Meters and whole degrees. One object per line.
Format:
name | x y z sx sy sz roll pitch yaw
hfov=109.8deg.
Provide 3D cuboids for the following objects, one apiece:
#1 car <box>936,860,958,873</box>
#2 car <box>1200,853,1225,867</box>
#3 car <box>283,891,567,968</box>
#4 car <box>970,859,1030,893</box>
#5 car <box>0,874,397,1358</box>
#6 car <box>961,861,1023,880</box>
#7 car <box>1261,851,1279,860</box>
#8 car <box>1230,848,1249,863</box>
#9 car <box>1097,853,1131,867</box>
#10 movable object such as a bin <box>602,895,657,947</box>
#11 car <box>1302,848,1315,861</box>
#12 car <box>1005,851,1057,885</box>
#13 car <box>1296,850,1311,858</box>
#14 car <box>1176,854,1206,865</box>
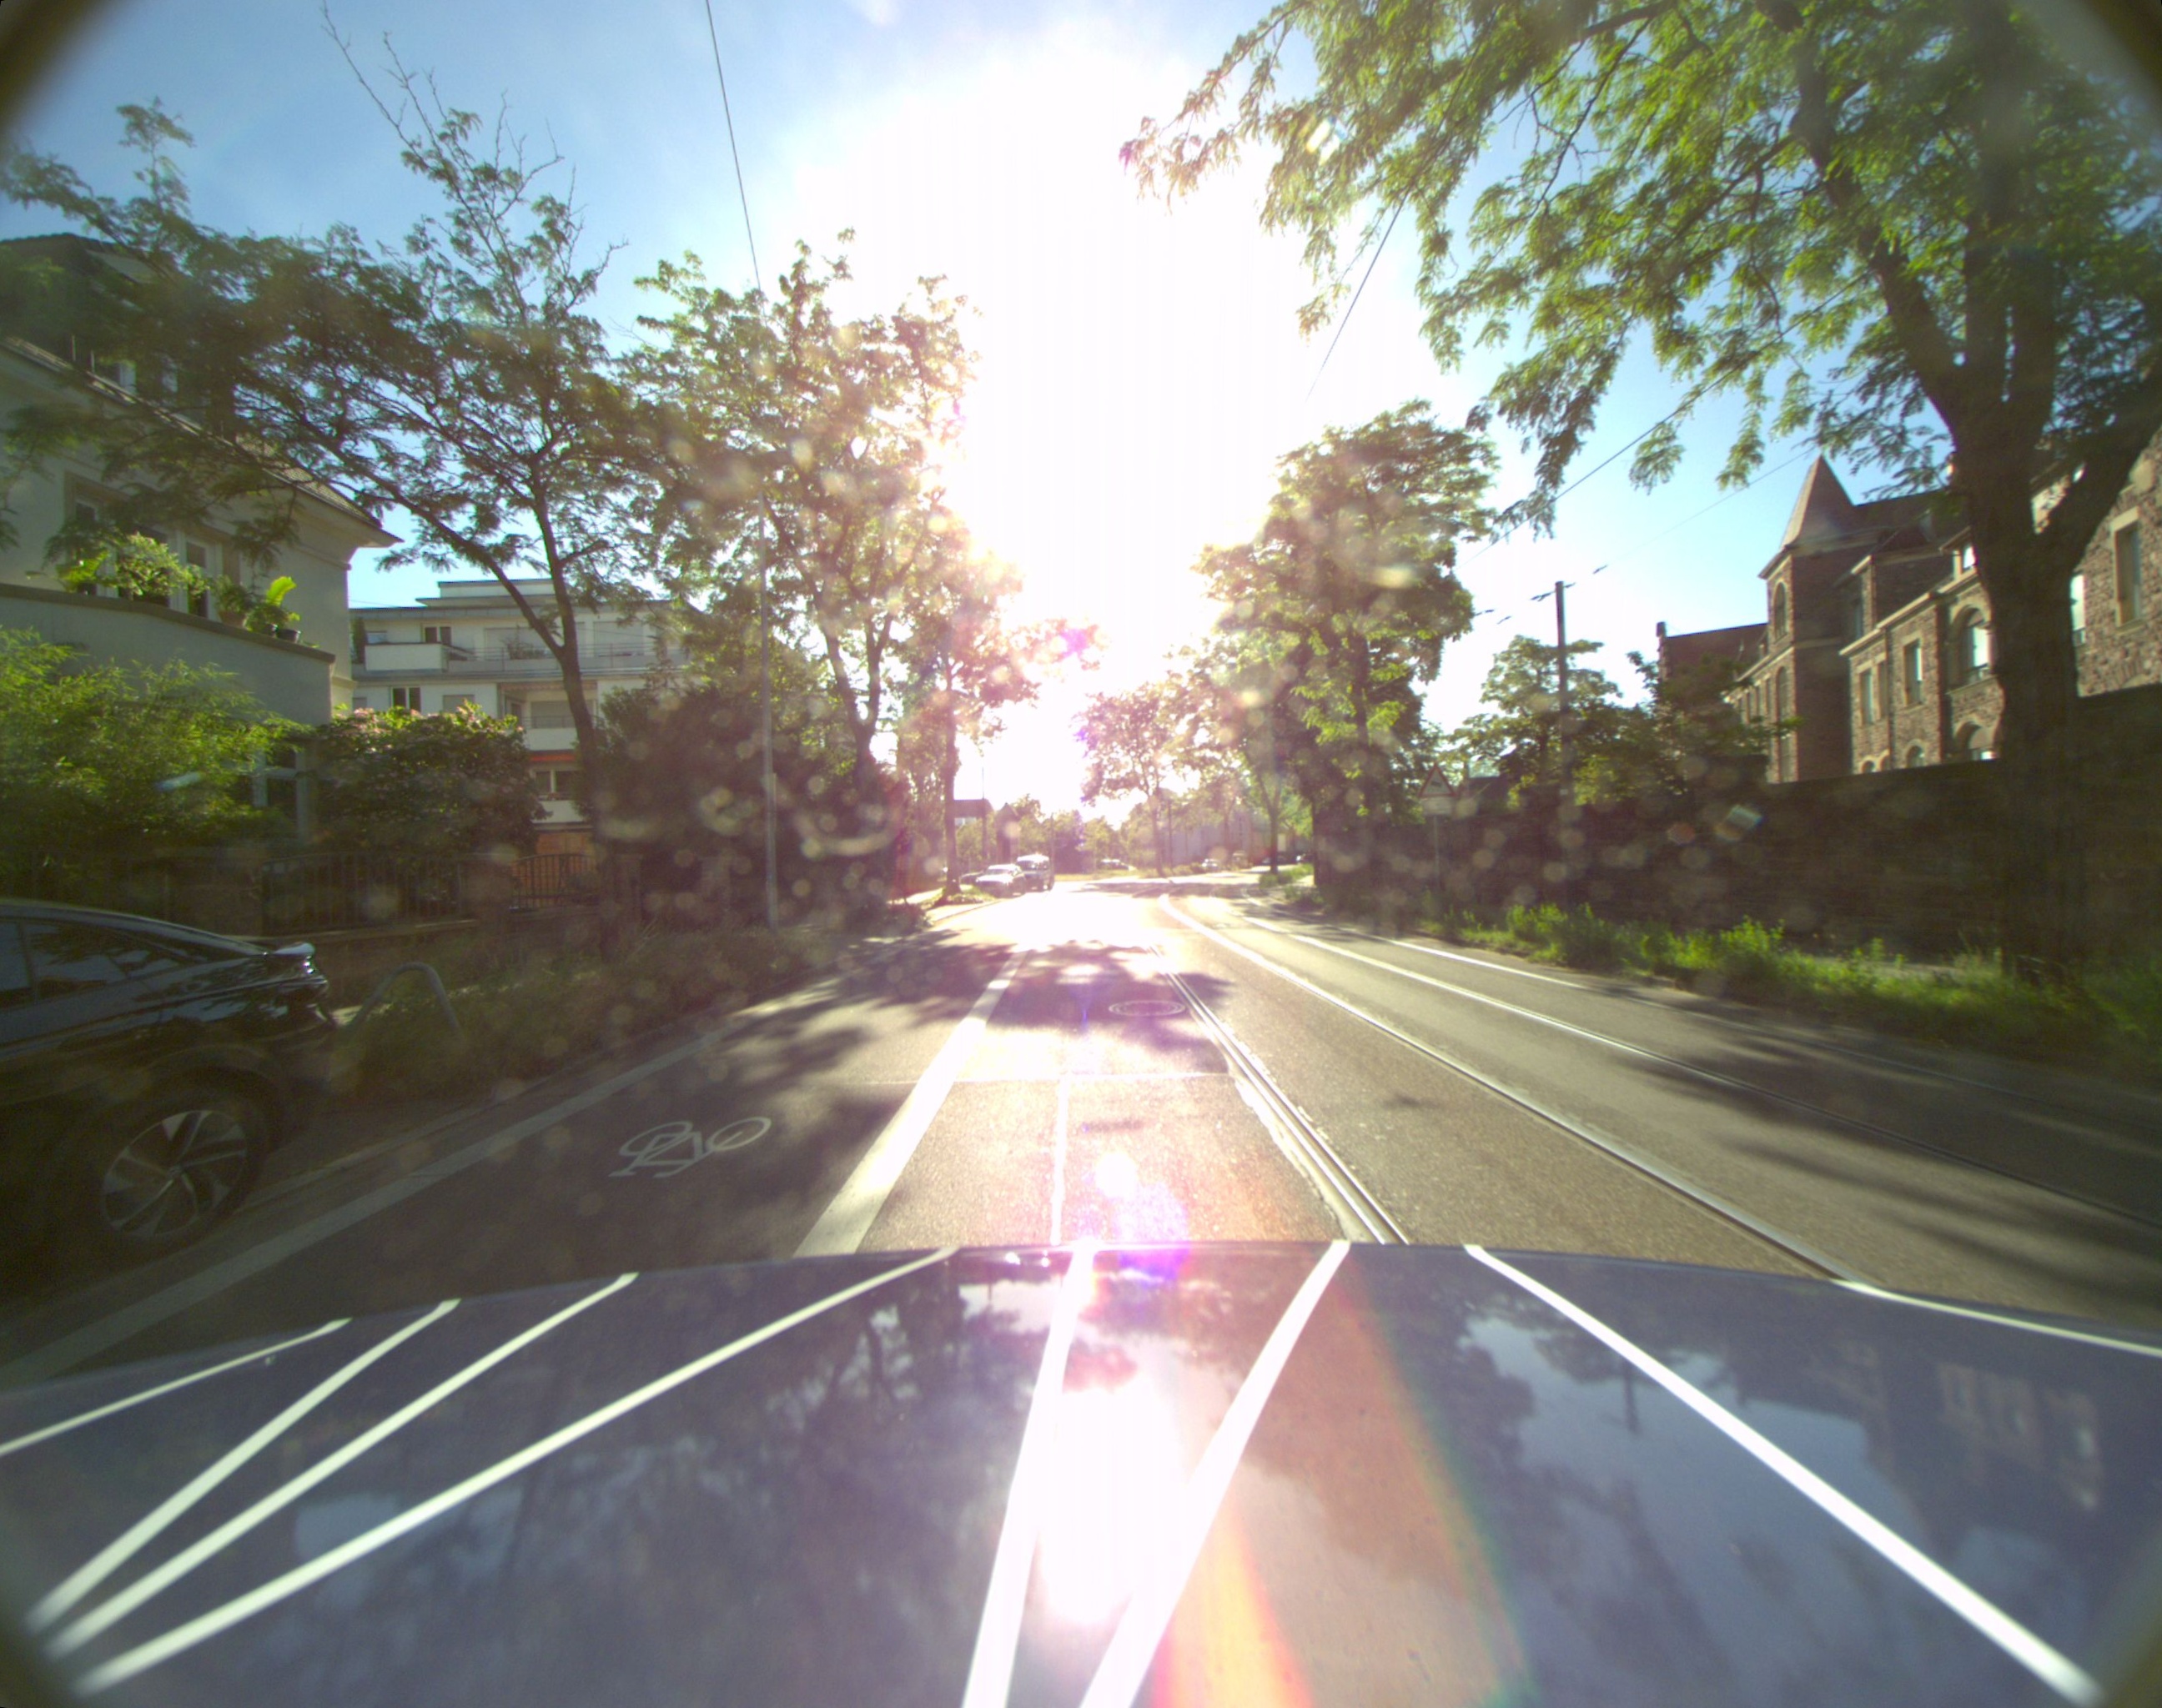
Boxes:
car | -19.883 1.896 112.867 1.997 1.786 4.002 -2 0 8
car | 15.410 0.685 88.918 2.002 1.457 5.440 2 1 20
car | -13.000 1.462 15.292 3.999 1.203 1.767 -2 0 -6
car | -3.739 0.983 35.902 1.998 1.414 4.333 -1 1 5
car | -4.873 0.983 1.964 1.808 1.684 4.729 2 0 2
car | -6.982 1.284 60.083 4.520 1.361 1.969 -2 0 3
car | 33.454 0.288 134.453 1.739 1.487 4.538 -2 0 30
car | 22.134 0.199 105.988 1.996 2.083 4.723 -1 0 19
car | 5.246 0.932 119.061 5.208 1.874 2.100 -3 0 3
movable object such as a bin | -10.180 1.510 17.144 0.748 1.092 0.730 -2 0 2
car | 34.026 0.081 113.624 1.634 1.781 4.344 -1 0 20
car | -2.671 0.750 41.815 2.027 1.736 4.754 -1 0 6
car | 45.260 -0.043 154.481 1.877 1.509 4.657 -2 0 29
car | 17.124 0.808 118.572 4.458 1.482 2.008 -1 4 3
